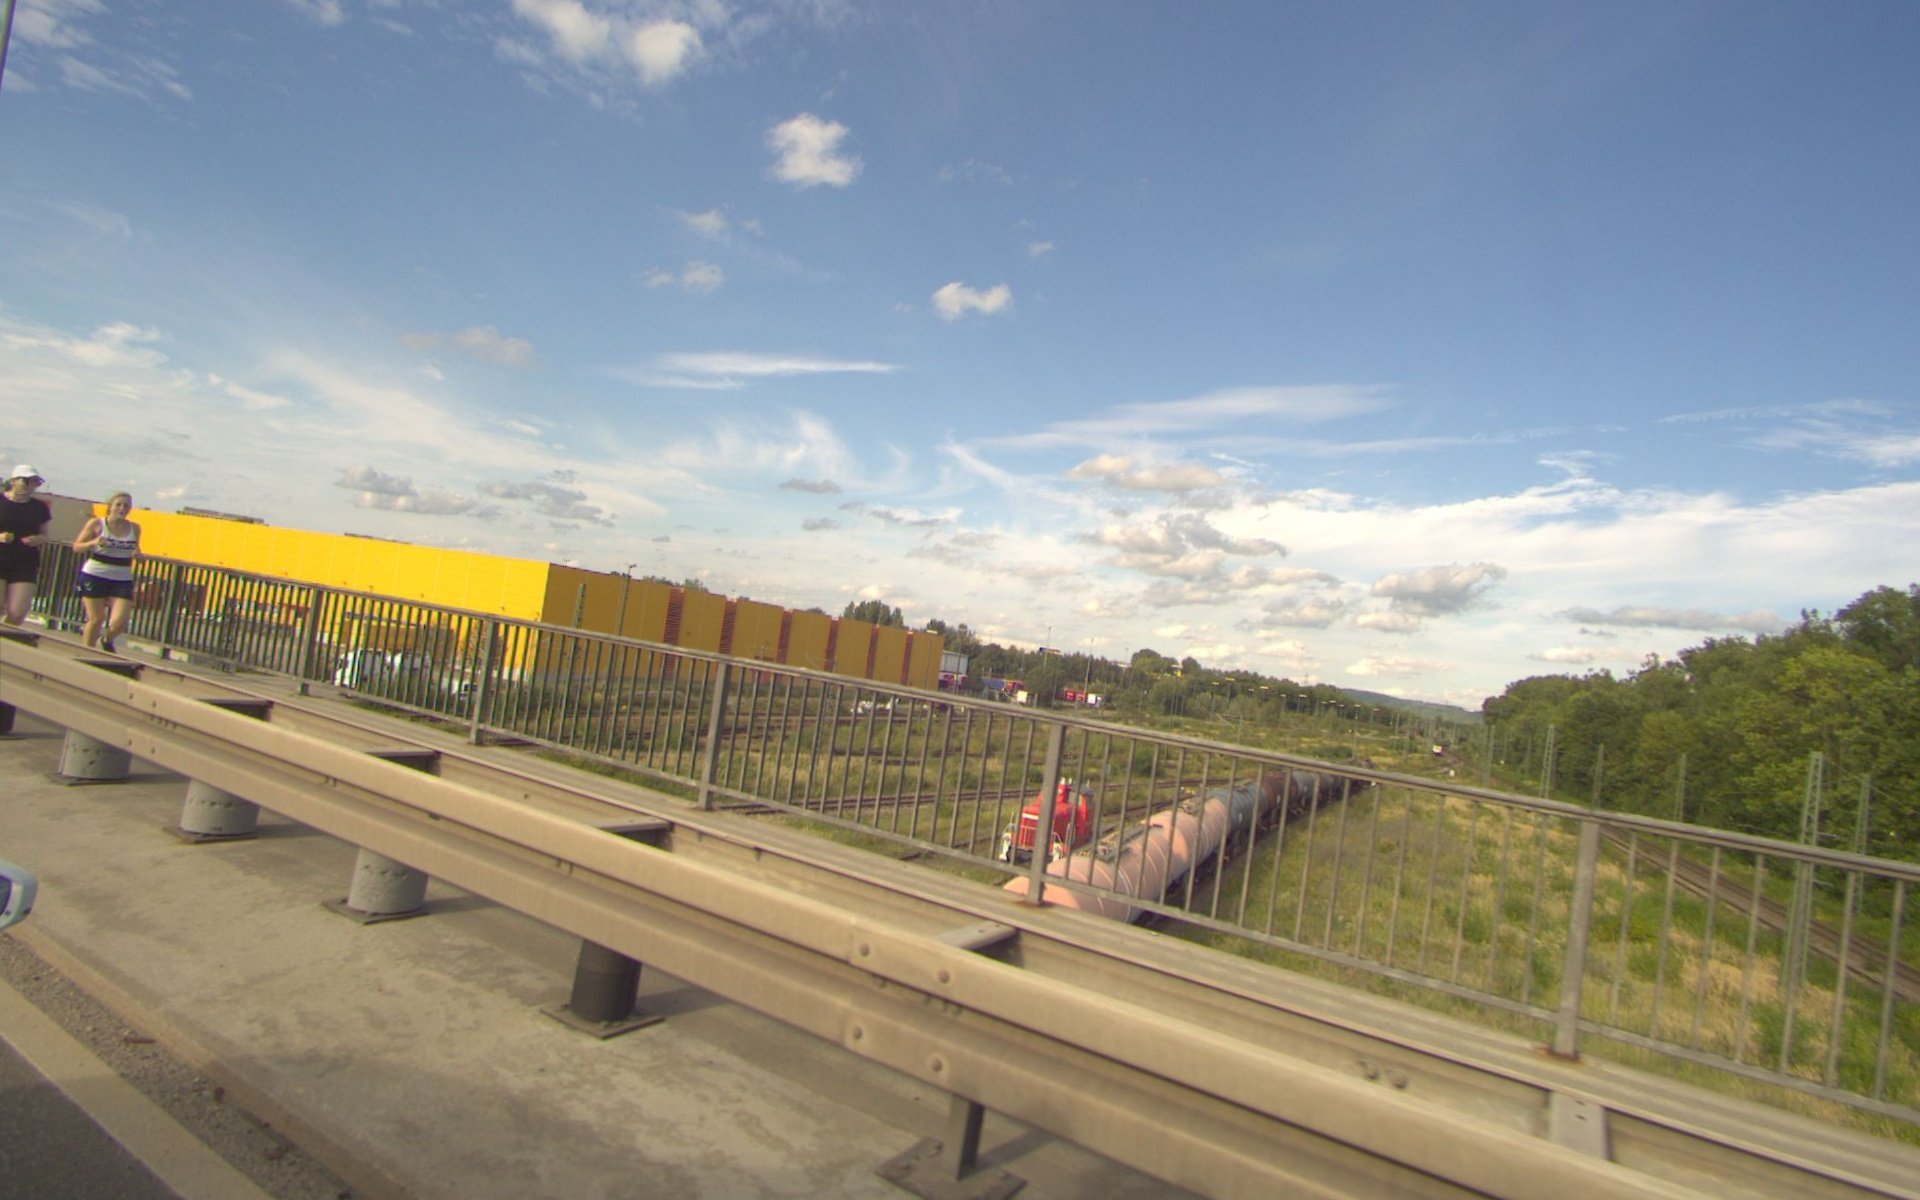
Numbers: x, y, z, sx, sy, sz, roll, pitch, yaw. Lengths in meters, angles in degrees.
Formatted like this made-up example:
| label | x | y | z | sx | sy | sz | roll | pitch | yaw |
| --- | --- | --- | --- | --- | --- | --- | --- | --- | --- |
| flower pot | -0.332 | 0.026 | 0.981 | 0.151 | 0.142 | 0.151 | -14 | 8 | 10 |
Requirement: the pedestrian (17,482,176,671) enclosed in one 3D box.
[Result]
| label | x | y | z | sx | sy | sz | roll | pitch | yaw |
| --- | --- | --- | --- | --- | --- | --- | --- | --- | --- |
| pedestrian | -7.779 | -0.206 | 9.069 | 0.944 | 1.562 | 0.678 | 7 | 0 | 29 |

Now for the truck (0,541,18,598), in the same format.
| label | x | y | z | sx | sy | sz | roll | pitch | yaw |
| --- | --- | --- | --- | --- | --- | --- | --- | --- | --- |
| truck | -90.565 | -3.334 | 90.851 | 11.072 | 4.913 | 3.640 | 6 | 0 | 23 |

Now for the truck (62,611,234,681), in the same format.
| label | x | y | z | sx | sy | sz | roll | pitch | yaw |
| --- | --- | --- | --- | --- | --- | --- | --- | --- | --- |
| truck | -55.479 | 3.293 | 69.095 | 2.619 | 4.140 | 8.616 | 9 | 0 | 25 |

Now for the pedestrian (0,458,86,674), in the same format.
| label | x | y | z | sx | sy | sz | roll | pitch | yaw |
| --- | --- | --- | --- | --- | --- | --- | --- | --- | --- |
| pedestrian | -7.834 | -0.293 | 8.214 | 0.851 | 1.681 | 0.678 | 7 | 0 | 30 |

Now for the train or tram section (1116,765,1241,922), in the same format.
| label | x | y | z | sx | sy | sz | roll | pitch | yaw |
| --- | --- | --- | --- | --- | --- | --- | --- | --- | --- |
| train or tram section | 11.509 | 11.671 | 50.963 | 3.040 | 4.768 | 16.751 | 7 | -1 | 22 |

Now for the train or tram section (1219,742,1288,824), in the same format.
| label | x | y | z | sx | sy | sz | roll | pitch | yaw |
| --- | --- | --- | --- | --- | --- | --- | --- | --- | --- |
| train or tram section | 24.132 | 14.569 | 81.930 | 3.040 | 4.766 | 16.757 | 7 | -2 | 23 |

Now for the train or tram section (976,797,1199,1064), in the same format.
| label | x | y | z | sx | sy | sz | roll | pitch | yaw |
| --- | --- | --- | --- | --- | --- | --- | --- | --- | --- |
| train or tram section | 5.279 | 10.534 | 35.393 | 3.040 | 4.768 | 16.749 | 7 | -1 | 23 |

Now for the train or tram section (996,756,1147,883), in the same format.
| label | x | y | z | sx | sy | sz | roll | pitch | yaw |
| --- | --- | --- | --- | --- | --- | --- | --- | --- | --- |
| train or tram section | 6.695 | 11.519 | 55.310 | 3.040 | 4.194 | 17.301 | 7 | -1 | 23 |

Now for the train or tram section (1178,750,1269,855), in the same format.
| label | x | y | z | sx | sy | sz | roll | pitch | yaw |
| --- | --- | --- | --- | --- | --- | --- | --- | --- | --- |
| train or tram section | 17.713 | 12.968 | 66.491 | 3.040 | 4.766 | 16.757 | 7 | -2 | 23 |
